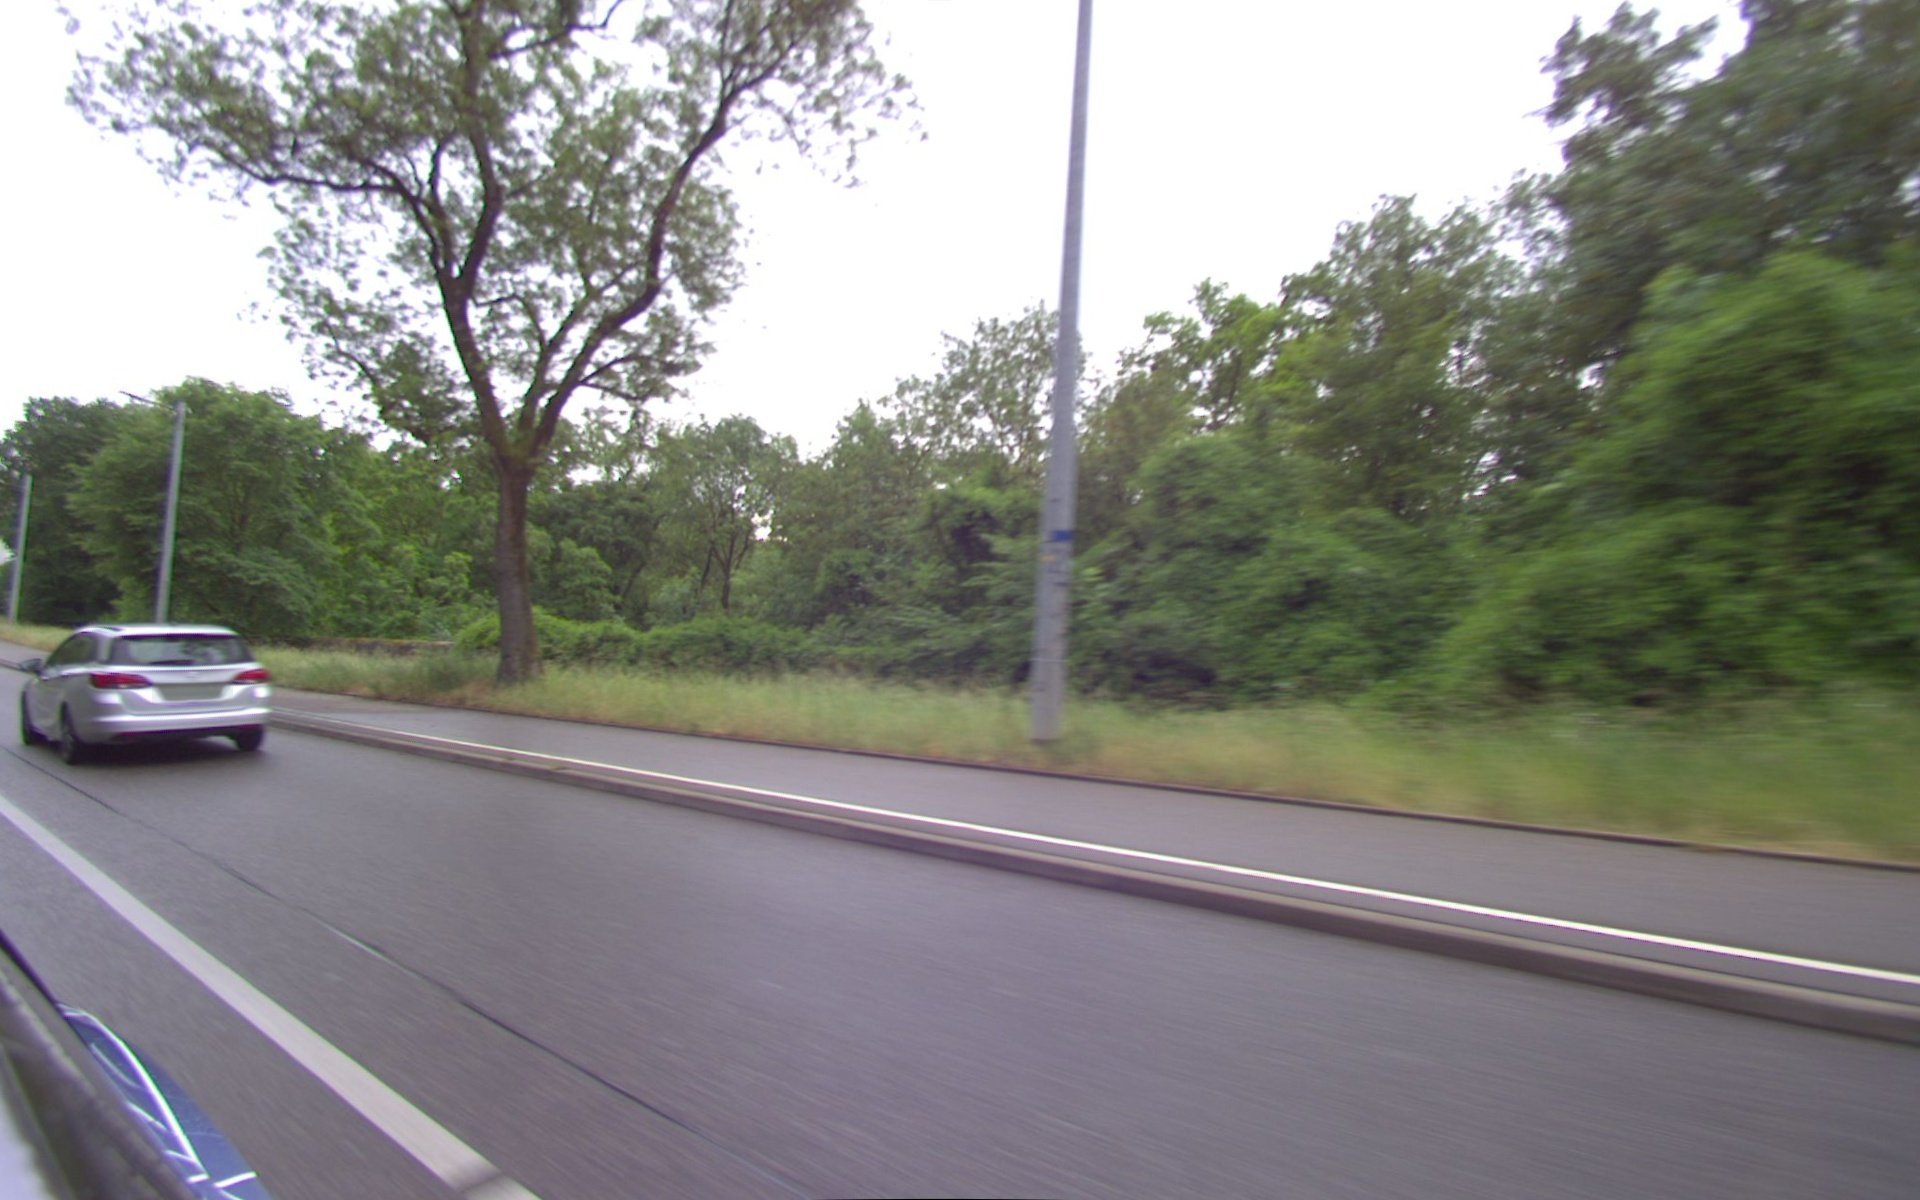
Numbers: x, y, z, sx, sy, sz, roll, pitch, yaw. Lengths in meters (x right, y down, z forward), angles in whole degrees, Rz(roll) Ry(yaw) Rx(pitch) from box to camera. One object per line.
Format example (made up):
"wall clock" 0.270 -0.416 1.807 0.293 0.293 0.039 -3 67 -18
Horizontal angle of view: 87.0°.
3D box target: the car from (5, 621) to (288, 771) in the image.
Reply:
"car" -9.632 0.980 11.855 4.471 1.441 1.762 -2 -2 40
